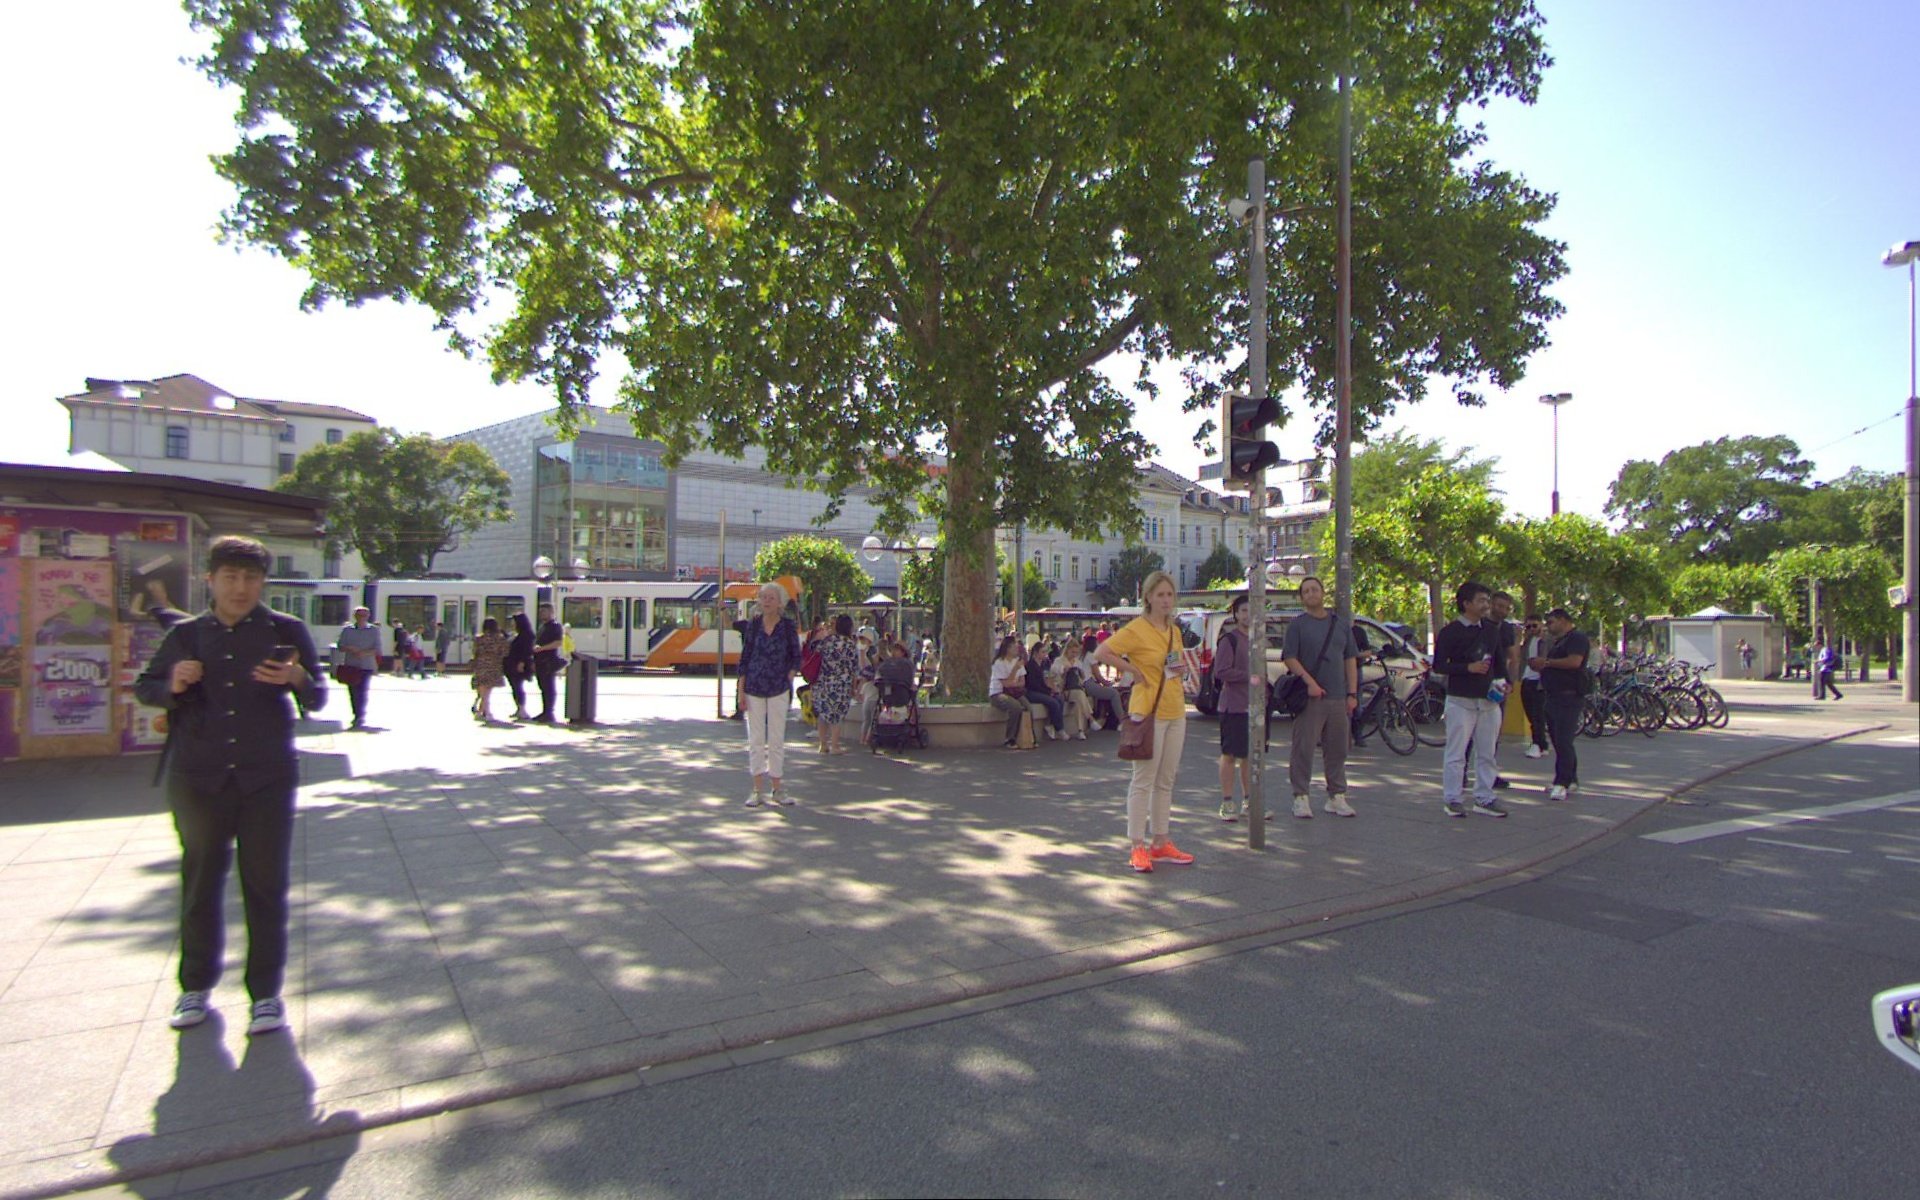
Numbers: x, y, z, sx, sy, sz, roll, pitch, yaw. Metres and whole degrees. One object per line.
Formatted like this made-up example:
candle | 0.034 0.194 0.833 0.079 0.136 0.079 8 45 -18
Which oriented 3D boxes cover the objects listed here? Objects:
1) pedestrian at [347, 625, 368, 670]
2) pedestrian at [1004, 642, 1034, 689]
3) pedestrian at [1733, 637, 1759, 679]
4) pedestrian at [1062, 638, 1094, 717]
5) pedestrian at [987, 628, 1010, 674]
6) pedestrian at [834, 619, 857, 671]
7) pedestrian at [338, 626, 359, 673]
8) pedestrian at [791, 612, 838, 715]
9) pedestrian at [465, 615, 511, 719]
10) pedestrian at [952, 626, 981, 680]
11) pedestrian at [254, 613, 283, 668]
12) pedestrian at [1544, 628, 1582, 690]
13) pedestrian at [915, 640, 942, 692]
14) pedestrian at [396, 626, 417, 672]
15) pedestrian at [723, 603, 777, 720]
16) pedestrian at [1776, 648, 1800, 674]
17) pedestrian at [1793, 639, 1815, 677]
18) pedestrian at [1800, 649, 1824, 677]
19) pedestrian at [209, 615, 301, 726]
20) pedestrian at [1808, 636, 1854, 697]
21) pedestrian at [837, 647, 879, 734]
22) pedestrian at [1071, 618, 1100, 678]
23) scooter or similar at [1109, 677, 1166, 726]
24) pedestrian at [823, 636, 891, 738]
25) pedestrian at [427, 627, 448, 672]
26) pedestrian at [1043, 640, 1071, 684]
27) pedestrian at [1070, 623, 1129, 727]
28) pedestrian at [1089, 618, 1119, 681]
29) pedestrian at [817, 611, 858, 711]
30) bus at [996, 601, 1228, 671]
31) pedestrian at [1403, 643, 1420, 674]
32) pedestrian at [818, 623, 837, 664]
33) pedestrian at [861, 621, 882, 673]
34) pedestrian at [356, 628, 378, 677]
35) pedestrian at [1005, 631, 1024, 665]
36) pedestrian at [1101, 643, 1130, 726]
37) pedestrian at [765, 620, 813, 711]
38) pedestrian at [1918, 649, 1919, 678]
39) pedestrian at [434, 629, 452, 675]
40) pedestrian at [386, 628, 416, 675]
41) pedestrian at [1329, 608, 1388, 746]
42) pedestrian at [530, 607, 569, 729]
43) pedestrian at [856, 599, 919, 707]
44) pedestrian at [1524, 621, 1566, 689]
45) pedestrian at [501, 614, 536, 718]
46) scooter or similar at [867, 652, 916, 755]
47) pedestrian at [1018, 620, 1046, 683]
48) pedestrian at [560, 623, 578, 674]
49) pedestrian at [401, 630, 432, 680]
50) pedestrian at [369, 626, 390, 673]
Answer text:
pedestrian | -20.289 1.589 33.831 0.549 1.492 0.751 2 0 -31
pedestrian | 1.593 1.761 27.145 0.550 1.249 0.571 2 -4 -42
pedestrian | 33.598 2.467 42.939 0.741 1.751 0.836 -4 -4 36
pedestrian | 1.914 1.250 16.292 0.450 1.222 0.502 2 0 3
pedestrian | 1.523 2.032 40.076 0.615 1.818 0.678 -4 -4 37
pedestrian | -3.464 1.368 30.446 0.567 1.569 0.681 -1 -3 3
pedestrian | -19.768 1.598 32.477 0.549 1.492 0.751 2 0 -31
pedestrian | -2.440 1.051 16.810 0.551 1.666 0.523 2 0 -41
pedestrian | -6.926 0.976 14.761 0.547 1.492 0.453 2 0 -23
pedestrian | 0.201 1.569 29.841 0.649 1.569 0.570 0 -4 -29
pedestrian | -19.184 1.113 27.878 0.524 1.492 0.552 2 0 -23
pedestrian | 17.683 1.733 29.489 0.667 1.768 0.625 -1 -3 3
pedestrian | -0.794 1.677 25.614 0.479 1.270 0.493 2 0 -32
pedestrian | -18.521 1.641 33.593 0.549 1.492 0.751 2 0 -31
pedestrian | -3.291 0.943 15.715 0.609 1.770 0.531 2 0 -41
pedestrian | 39.613 2.921 48.071 0.746 1.186 0.670 1 -4 -37
pedestrian | 37.217 2.568 44.283 0.566 1.630 0.602 -3 -4 30
pedestrian | 39.891 2.942 47.024 0.746 1.262 0.670 1 -4 -37
pedestrian | -10.181 0.994 14.512 0.737 1.527 0.782 2 0 22
pedestrian | 24.535 1.870 28.302 0.675 1.680 0.884 2 -2 -40
pedestrian | -1.657 1.443 16.248 0.488 1.355 0.430 2 0 -41
pedestrian | 3.835 1.465 30.700 0.571 1.800 0.676 0 -4 -28
scooter or similar | 2.703 1.541 15.323 0.770 0.656 0.580 2 0 2
pedestrian | -1.350 1.115 13.133 0.609 1.258 0.665 2 0 -34
pedestrian | -17.649 1.669 33.899 0.549 1.492 0.751 2 0 -31
pedestrian | 2.685 1.718 27.852 0.523 1.218 0.538 2 -4 -42
pedestrian | 2.060 1.102 14.899 0.770 1.480 0.580 2 0 2
pedestrian | 4.197 1.440 29.303 0.668 1.800 0.577 -1 -3 -10
pedestrian | -2.136 1.046 17.446 0.468 1.690 0.497 2 0 -41
bus | 8.309 1.976 54.963 12.243 3.465 3.059 2 0 -12
pedestrian | 21.903 2.857 48.730 0.667 1.484 0.625 -2 -3 21
pedestrian | -5.179 1.687 39.193 0.667 1.569 0.578 -1 -3 -4
pedestrian | -2.707 1.440 30.596 0.568 1.569 0.679 -1 -3 -10
pedestrian | -18.622 1.628 31.546 0.549 1.492 0.751 2 0 -31
pedestrian | 2.416 2.152 44.815 0.615 1.484 0.551 -4 -4 37
pedestrian | 2.304 1.244 14.924 0.342 1.188 0.507 2 0 3
pedestrian | -2.992 1.138 17.617 0.602 1.546 0.542 2 0 -41
pedestrian | 45.429 3.097 47.049 0.617 1.630 0.524 0 -3 -22
pedestrian | -16.979 1.705 32.977 0.450 1.492 0.552 2 0 -23
pedestrian | -18.041 1.650 32.422 0.747 1.492 0.552 2 0 -24
pedestrian | 5.239 0.992 13.212 0.515 1.766 0.509 2 0 -44
pedestrian | -6.077 0.993 14.876 0.485 1.750 0.552 2 0 -23
pedestrian | -1.234 0.883 17.077 0.777 1.770 0.660 2 0 -41
pedestrian | 17.815 1.667 30.607 0.877 2.033 0.681 -2 -3 16
pedestrian | -6.733 1.001 15.338 0.450 1.546 0.489 2 0 -23
scooter or similar | -0.804 1.200 11.774 0.528 1.134 0.568 2 0 -4
pedestrian | 2.134 1.535 29.915 0.668 1.865 0.577 -1 -3 -10
pedestrian | -11.796 1.460 30.330 0.450 1.492 0.552 2 0 -23
pedestrian | -16.704 1.683 30.879 0.747 1.492 0.552 2 0 -24
pedestrian | -19.059 1.622 32.970 0.549 1.492 0.751 2 0 -31
